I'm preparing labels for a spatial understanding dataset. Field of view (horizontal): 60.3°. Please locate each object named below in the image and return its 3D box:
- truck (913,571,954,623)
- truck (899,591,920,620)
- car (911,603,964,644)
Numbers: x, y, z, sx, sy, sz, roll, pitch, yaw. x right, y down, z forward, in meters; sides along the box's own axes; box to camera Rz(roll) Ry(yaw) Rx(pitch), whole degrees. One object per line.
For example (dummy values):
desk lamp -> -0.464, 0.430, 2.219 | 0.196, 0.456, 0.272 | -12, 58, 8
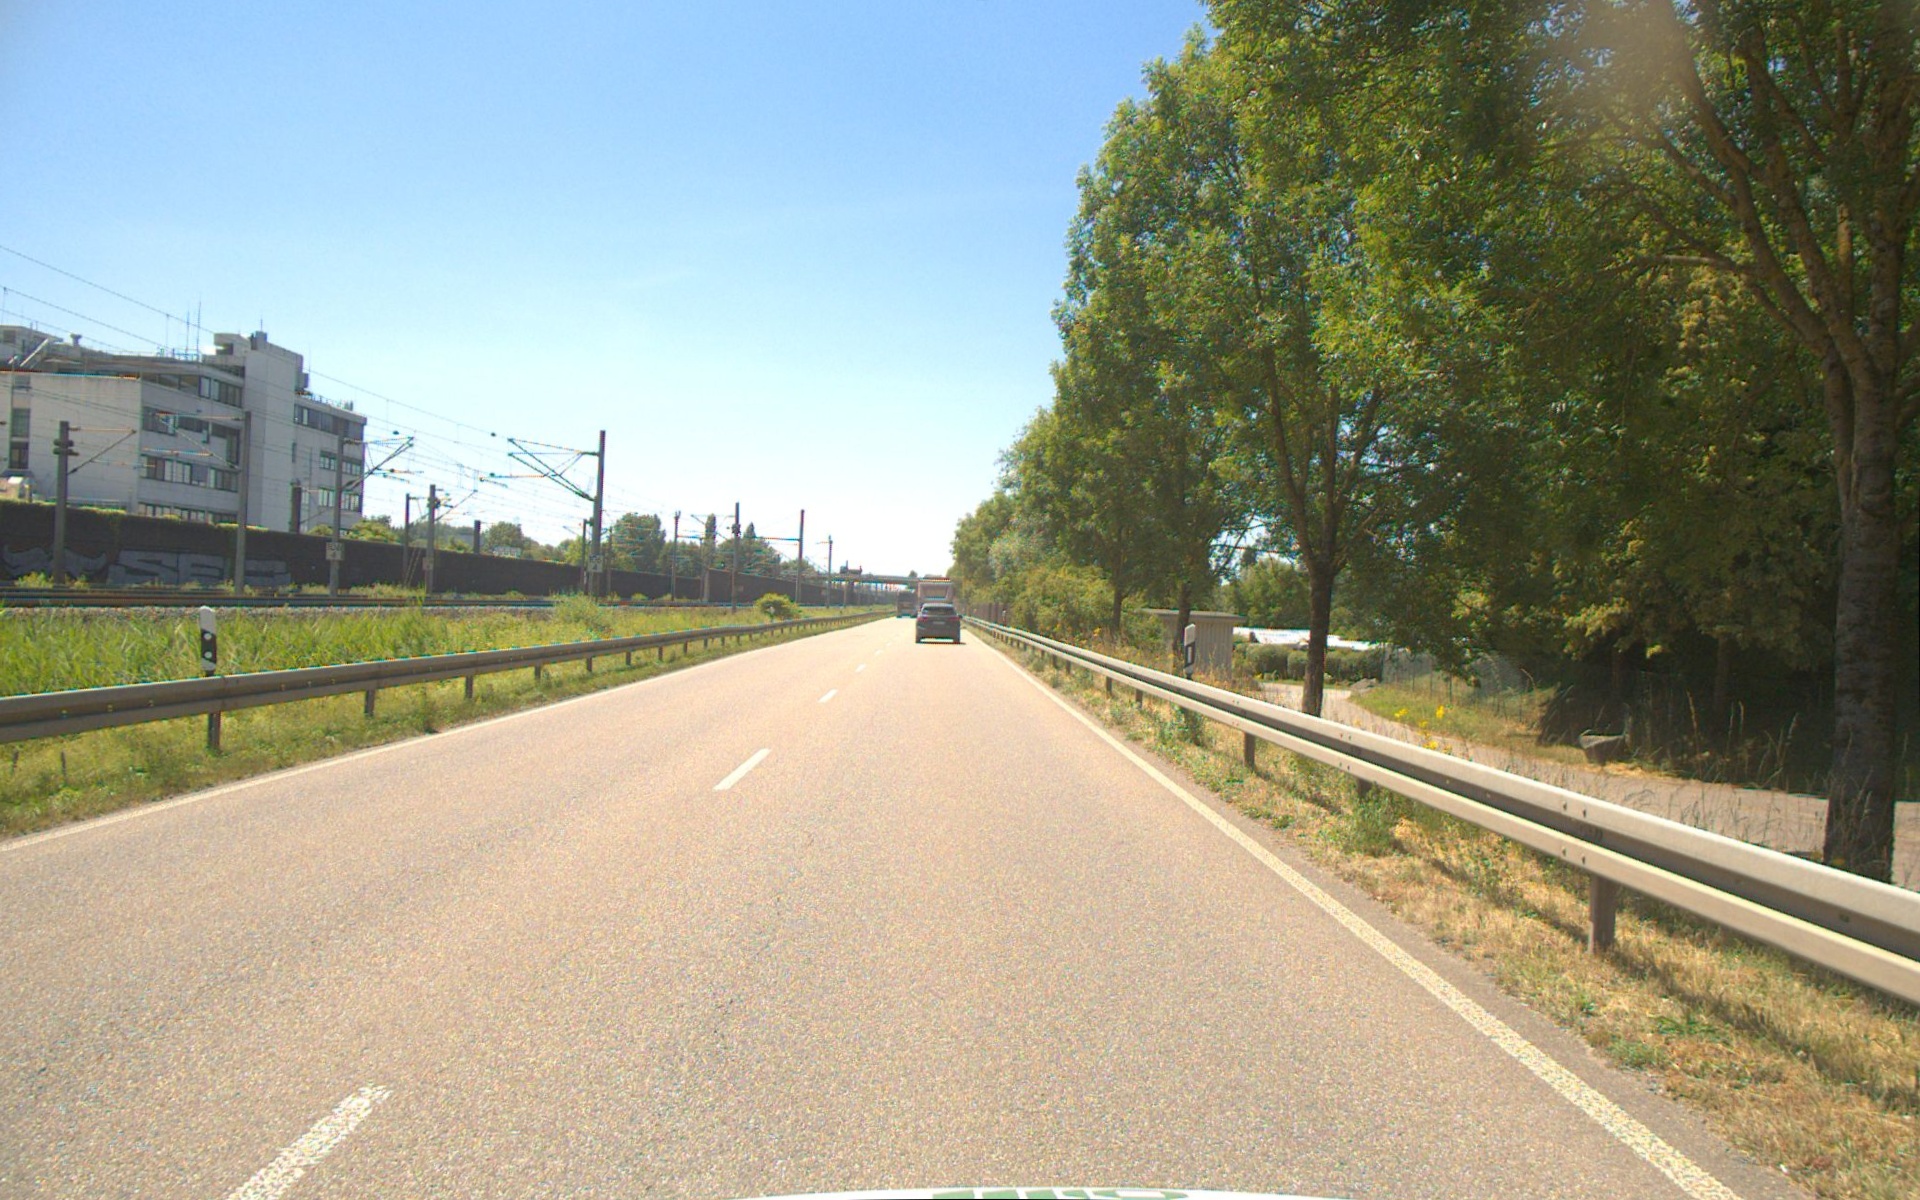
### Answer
truck -> -1.896, -0.163, 118.887 | 2.714, 3.485, 10.817 | 1, 0, -1
truck -> -6.720, 0.677, 218.431 | 2.604, 3.690, 10.973 | 2, 0, -2
car -> -0.935, 0.926, 66.520 | 1.954, 1.534, 3.998 | 1, 0, -3
